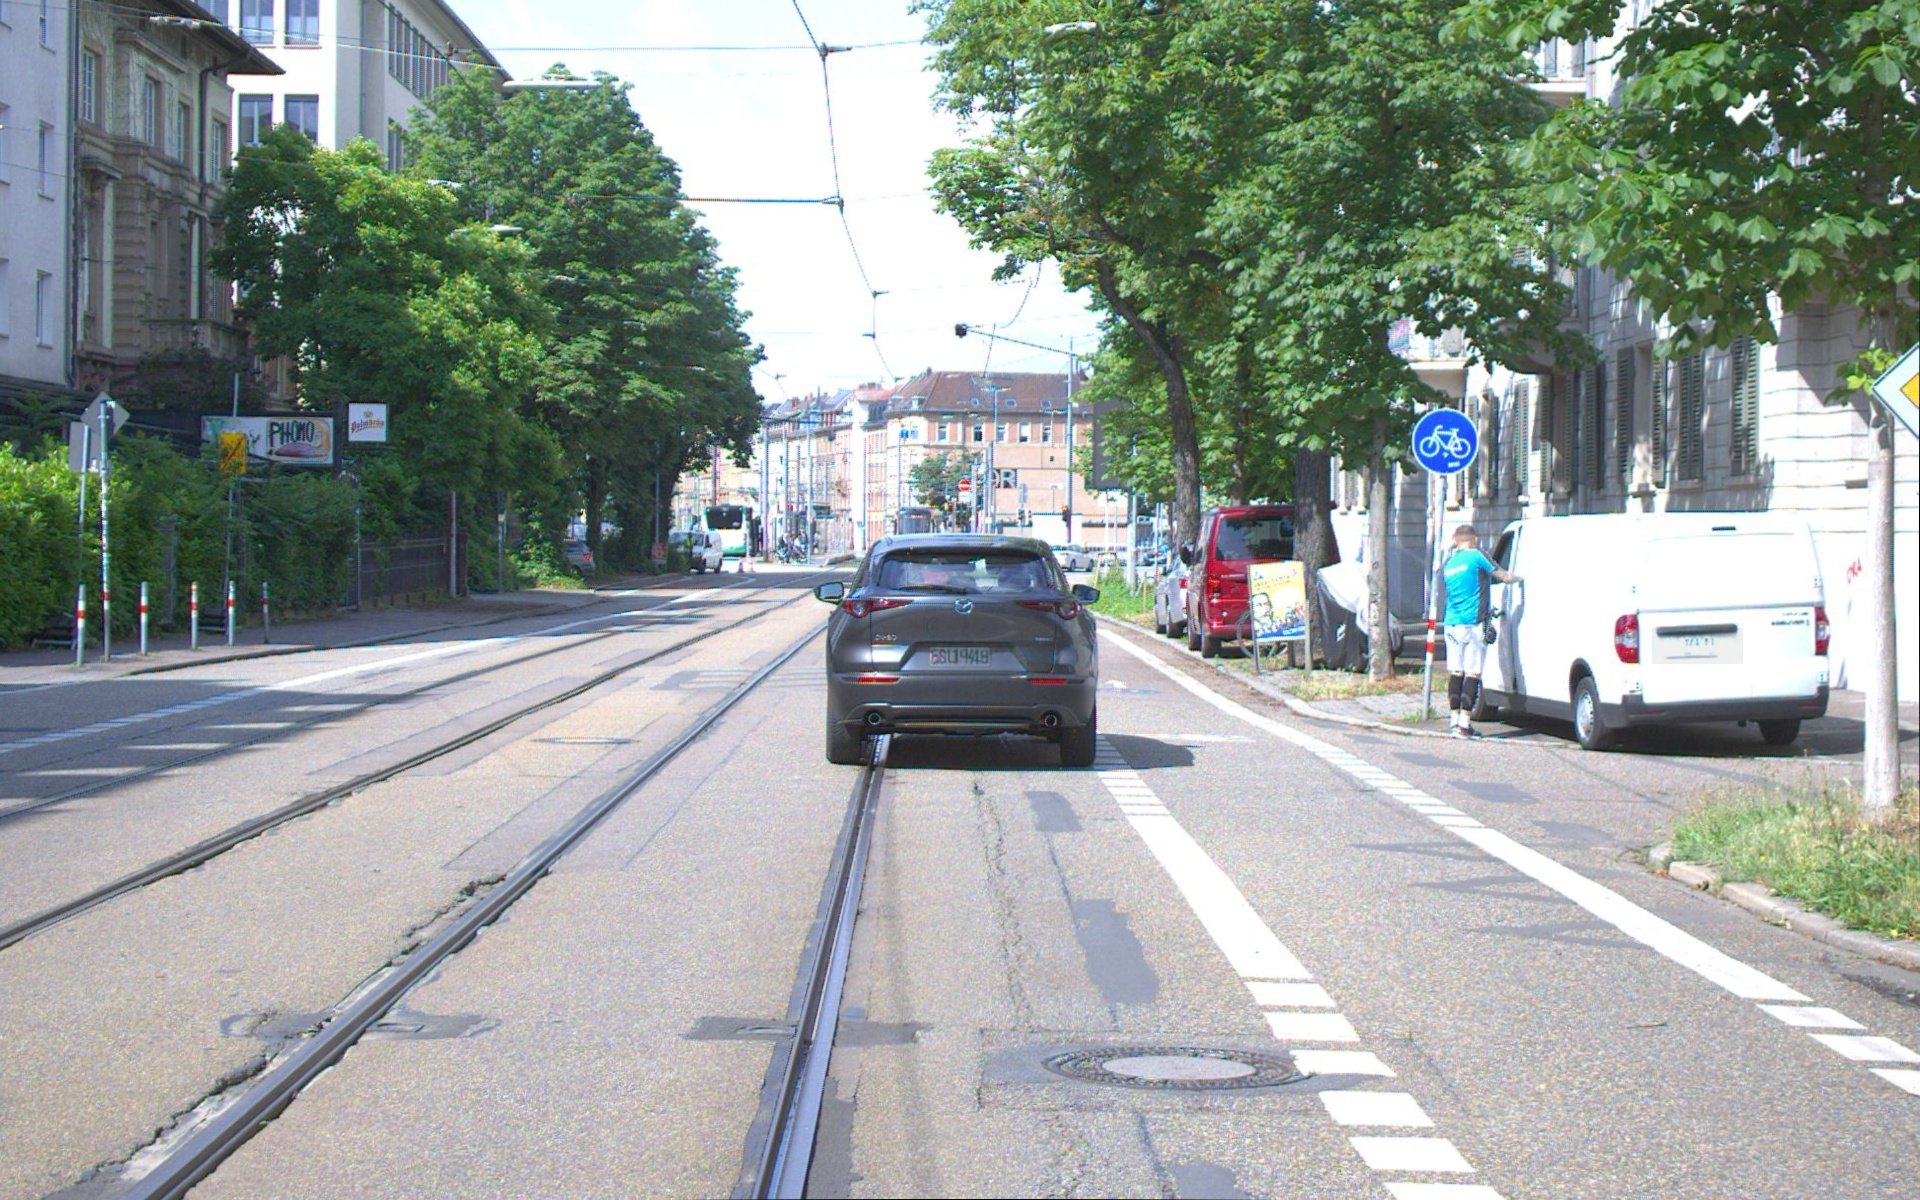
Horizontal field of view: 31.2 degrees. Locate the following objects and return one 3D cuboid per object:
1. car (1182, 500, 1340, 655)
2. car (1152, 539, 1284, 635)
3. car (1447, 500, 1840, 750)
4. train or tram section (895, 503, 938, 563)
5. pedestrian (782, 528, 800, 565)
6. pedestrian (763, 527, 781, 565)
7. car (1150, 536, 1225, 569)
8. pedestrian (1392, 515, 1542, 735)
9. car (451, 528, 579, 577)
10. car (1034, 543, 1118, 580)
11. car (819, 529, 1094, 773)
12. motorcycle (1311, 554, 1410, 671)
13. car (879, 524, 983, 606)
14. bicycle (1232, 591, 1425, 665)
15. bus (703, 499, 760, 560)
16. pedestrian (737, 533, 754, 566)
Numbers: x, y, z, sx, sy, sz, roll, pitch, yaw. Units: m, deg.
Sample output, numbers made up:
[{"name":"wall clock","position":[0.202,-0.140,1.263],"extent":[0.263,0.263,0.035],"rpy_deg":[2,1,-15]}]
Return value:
[{"name":"car","position":[3.980,-0.327,46.013],"extent":[1.720,1.962,4.207],"rpy_deg":[1,1,0]},{"name":"car","position":[3.996,-0.229,53.755],"extent":[1.720,1.419,3.590],"rpy_deg":[1,1,-1]},{"name":"car","position":[5.671,0.138,29.200],"extent":[1.786,1.932,4.992],"rpy_deg":[1,1,-7]},{"name":"train or tram section","position":[-2.798,-4.380,223.399],"extent":[2.571,3.759,13.026],"rpy_deg":[1,1,0]},{"name":"pedestrian","position":[-9.061,-2.864,184.217],"extent":[0.884,2.007,0.618],"rpy_deg":[1,1,-4]},{"name":"pedestrian","position":[-10.080,-2.888,184.225],"extent":[0.884,2.007,0.618],"rpy_deg":[1,1,-4]},{"name":"car","position":[12.484,-2.595,188.827],"extent":[3.806,1.612,1.638],"rpy_deg":[2,1,-31]},{"name":"pedestrian","position":[4.300,0.202,29.220],"extent":[0.959,1.829,0.818],"rpy_deg":[1,1,-18]},{"name":"car","position":[-13.602,-1.456,105.277],"extent":[3.746,1.283,1.611],"rpy_deg":[3,1,-4]},{"name":"car","position":[5.764,-1.902,171.088],"extent":[3.805,1.612,1.638],"rpy_deg":[3,1,-18]},{"name":"car","position":[-0.052,0.290,23.574],"extent":[1.720,1.521,3.590],"rpy_deg":[1,1,-1]},{"name":"motorcycle","position":[4.543,0.117,39.132],"extent":[0.794,1.267,2.422],"rpy_deg":[1,1,-1]},{"name":"car","position":[-0.611,-0.734,70.116],"extent":[1.993,1.523,4.000],"rpy_deg":[3,1,-1]},{"name":"bicycle","position":[4.517,0.340,42.246],"extent":[2.275,0.858,0.672],"rpy_deg":[1,1,-1]},{"name":"bus","position":[-13.696,-4.250,205.625],"extent":[2.688,3.409,11.020],"rpy_deg":[3,1,-7]},{"name":"pedestrian","position":[-9.964,-2.341,159.787],"extent":[0.751,1.505,0.824],"rpy_deg":[1,1,-5]}]
